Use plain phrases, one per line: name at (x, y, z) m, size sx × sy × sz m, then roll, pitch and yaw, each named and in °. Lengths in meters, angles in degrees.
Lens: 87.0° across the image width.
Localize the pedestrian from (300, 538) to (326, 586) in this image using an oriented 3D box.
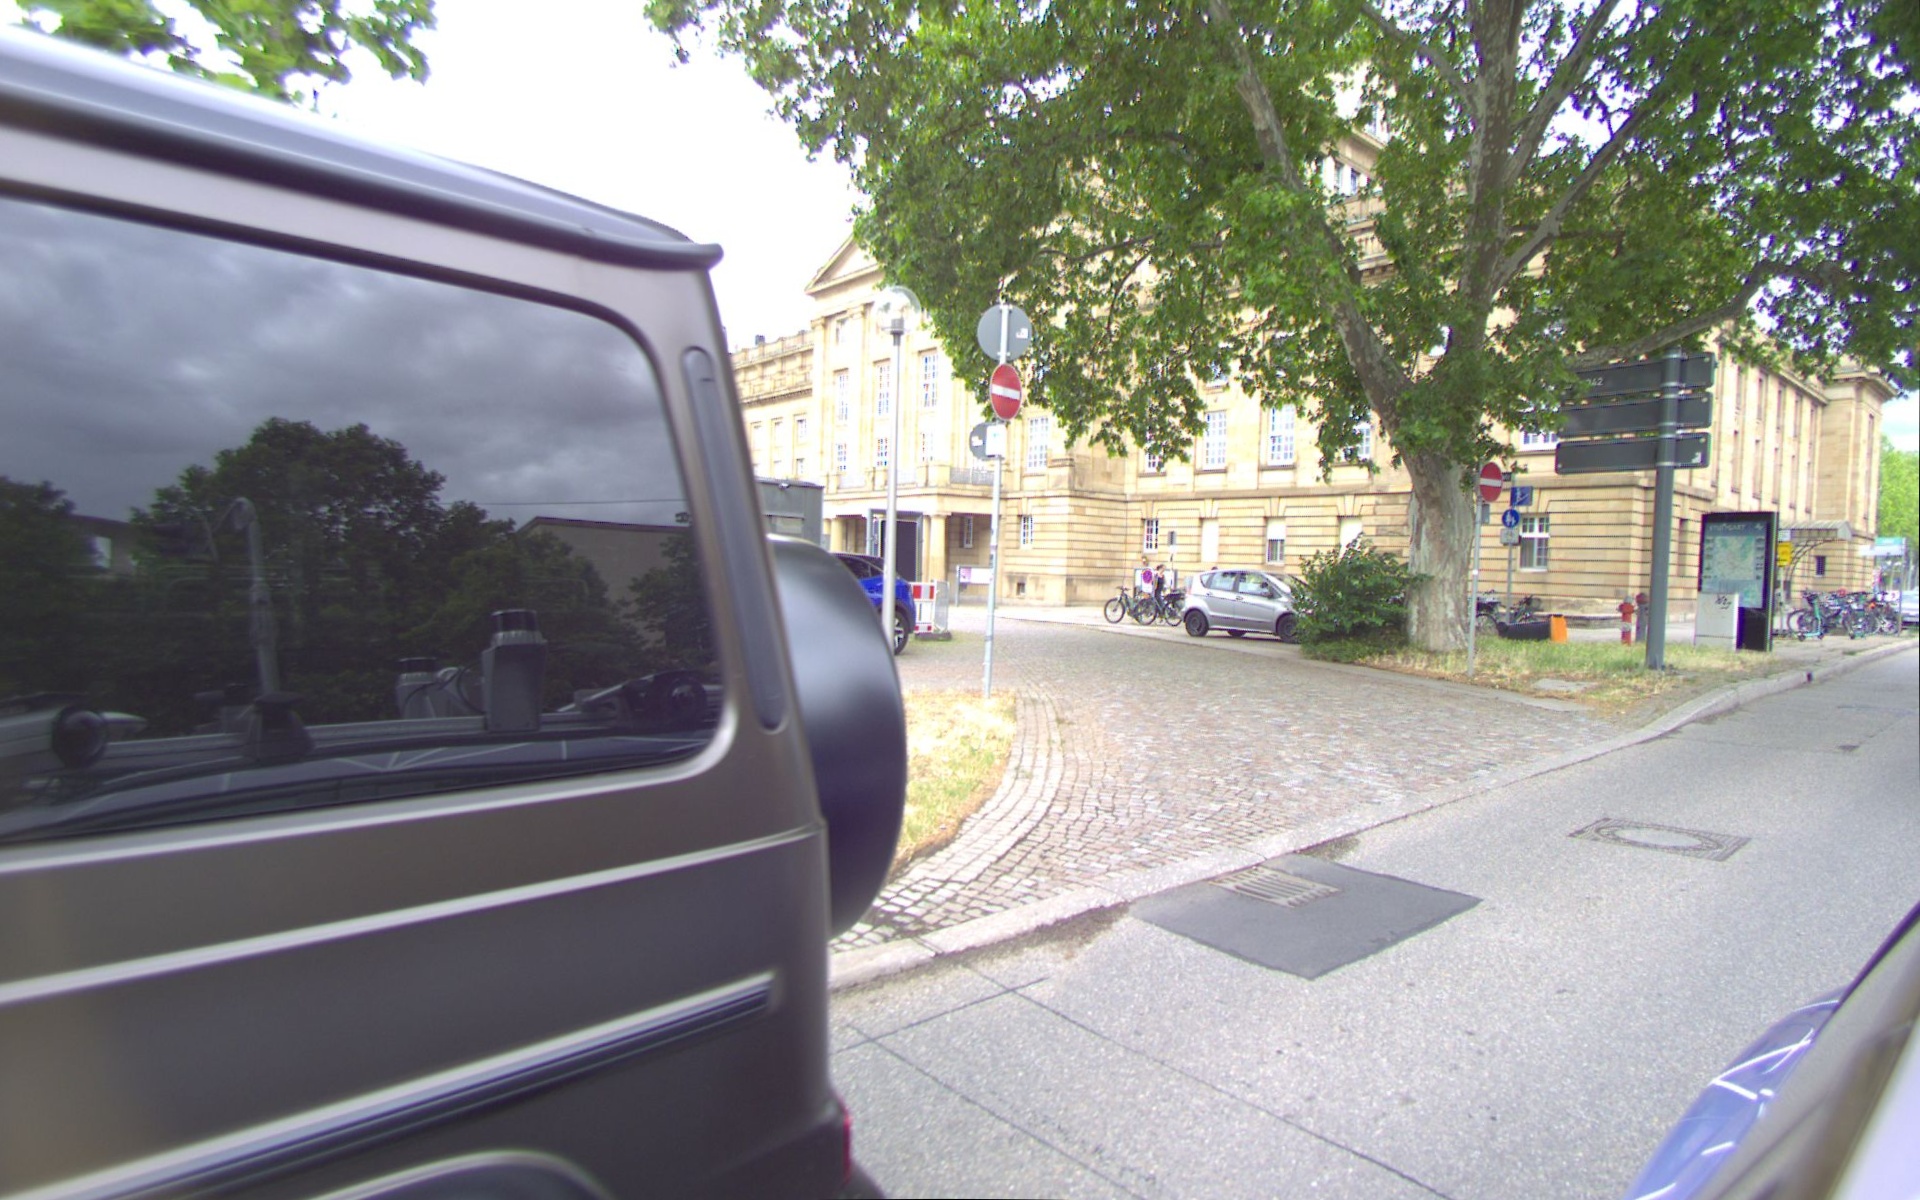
pedestrian at (-27.901, -1.651, 43.642) m, size 0.801 × 2.039 × 0.857 m, roll -2°, pitch 1°, yaw -41°

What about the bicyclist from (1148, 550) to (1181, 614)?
bicyclist at (6.559, -0.573, 32.412) m, size 0.869 × 2.039 × 0.837 m, roll -1°, pitch 0°, yaw 25°

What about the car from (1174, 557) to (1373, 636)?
car at (6.936, -0.090, 22.691) m, size 1.704 × 1.616 × 3.995 m, roll -1°, pitch 1°, yaw -40°

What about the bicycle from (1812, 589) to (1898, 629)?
bicycle at (26.236, 0.257, 29.697) m, size 1.835 × 1.085 × 0.609 m, roll 3°, pitch 2°, yaw 43°

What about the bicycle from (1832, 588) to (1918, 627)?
bicycle at (27.749, 0.222, 30.724) m, size 1.826 × 1.085 × 0.526 m, roll 2°, pitch 2°, yaw 31°

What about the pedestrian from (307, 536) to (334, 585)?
pedestrian at (-27.062, -1.651, 42.821) m, size 0.801 × 2.039 × 0.766 m, roll -2°, pitch 1°, yaw -41°

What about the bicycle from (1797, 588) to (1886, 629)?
bicycle at (25.597, 0.230, 29.414) m, size 1.913 × 1.112 × 0.533 m, roll 3°, pitch 2°, yaw 43°

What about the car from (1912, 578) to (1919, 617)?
car at (42.120, -0.090, 42.943) m, size 3.927 × 1.613 × 1.868 m, roll -1°, pitch 3°, yaw -37°

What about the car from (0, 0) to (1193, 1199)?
car at (-2.037, 0.397, 0.727) m, size 4.626 × 1.917 × 1.981 m, roll -1°, pitch 1°, yaw -41°

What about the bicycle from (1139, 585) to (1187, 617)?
bicycle at (6.503, 0.021, 32.283) m, size 0.907 × 0.942 × 2.657 m, roll -1°, pitch 1°, yaw 25°

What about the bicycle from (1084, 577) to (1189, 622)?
bicycle at (5.136, -0.044, 29.575) m, size 2.826 × 1.199 × 1.084 m, roll 2°, pitch 2°, yaw 35°

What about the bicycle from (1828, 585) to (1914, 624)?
bicycle at (28.709, 0.123, 31.931) m, size 1.922 × 1.146 × 0.535 m, roll 2°, pitch 2°, yaw 31°

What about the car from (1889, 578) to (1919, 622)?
car at (36.298, -0.009, 37.668) m, size 3.927 × 1.549 × 1.844 m, roll -1°, pitch 3°, yaw -37°

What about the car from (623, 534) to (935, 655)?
car at (-2.583, -0.069, 14.911) m, size 4.139 × 1.536 × 1.769 m, roll 1°, pitch 1°, yaw -38°

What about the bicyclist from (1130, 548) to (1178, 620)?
bicyclist at (5.629, -0.461, 29.344) m, size 1.005 × 2.039 × 1.091 m, roll 2°, pitch 1°, yaw 33°

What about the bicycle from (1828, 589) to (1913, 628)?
bicycle at (27.059, 0.240, 30.105) m, size 1.834 × 1.085 × 0.524 m, roll 3°, pitch 2°, yaw 43°
